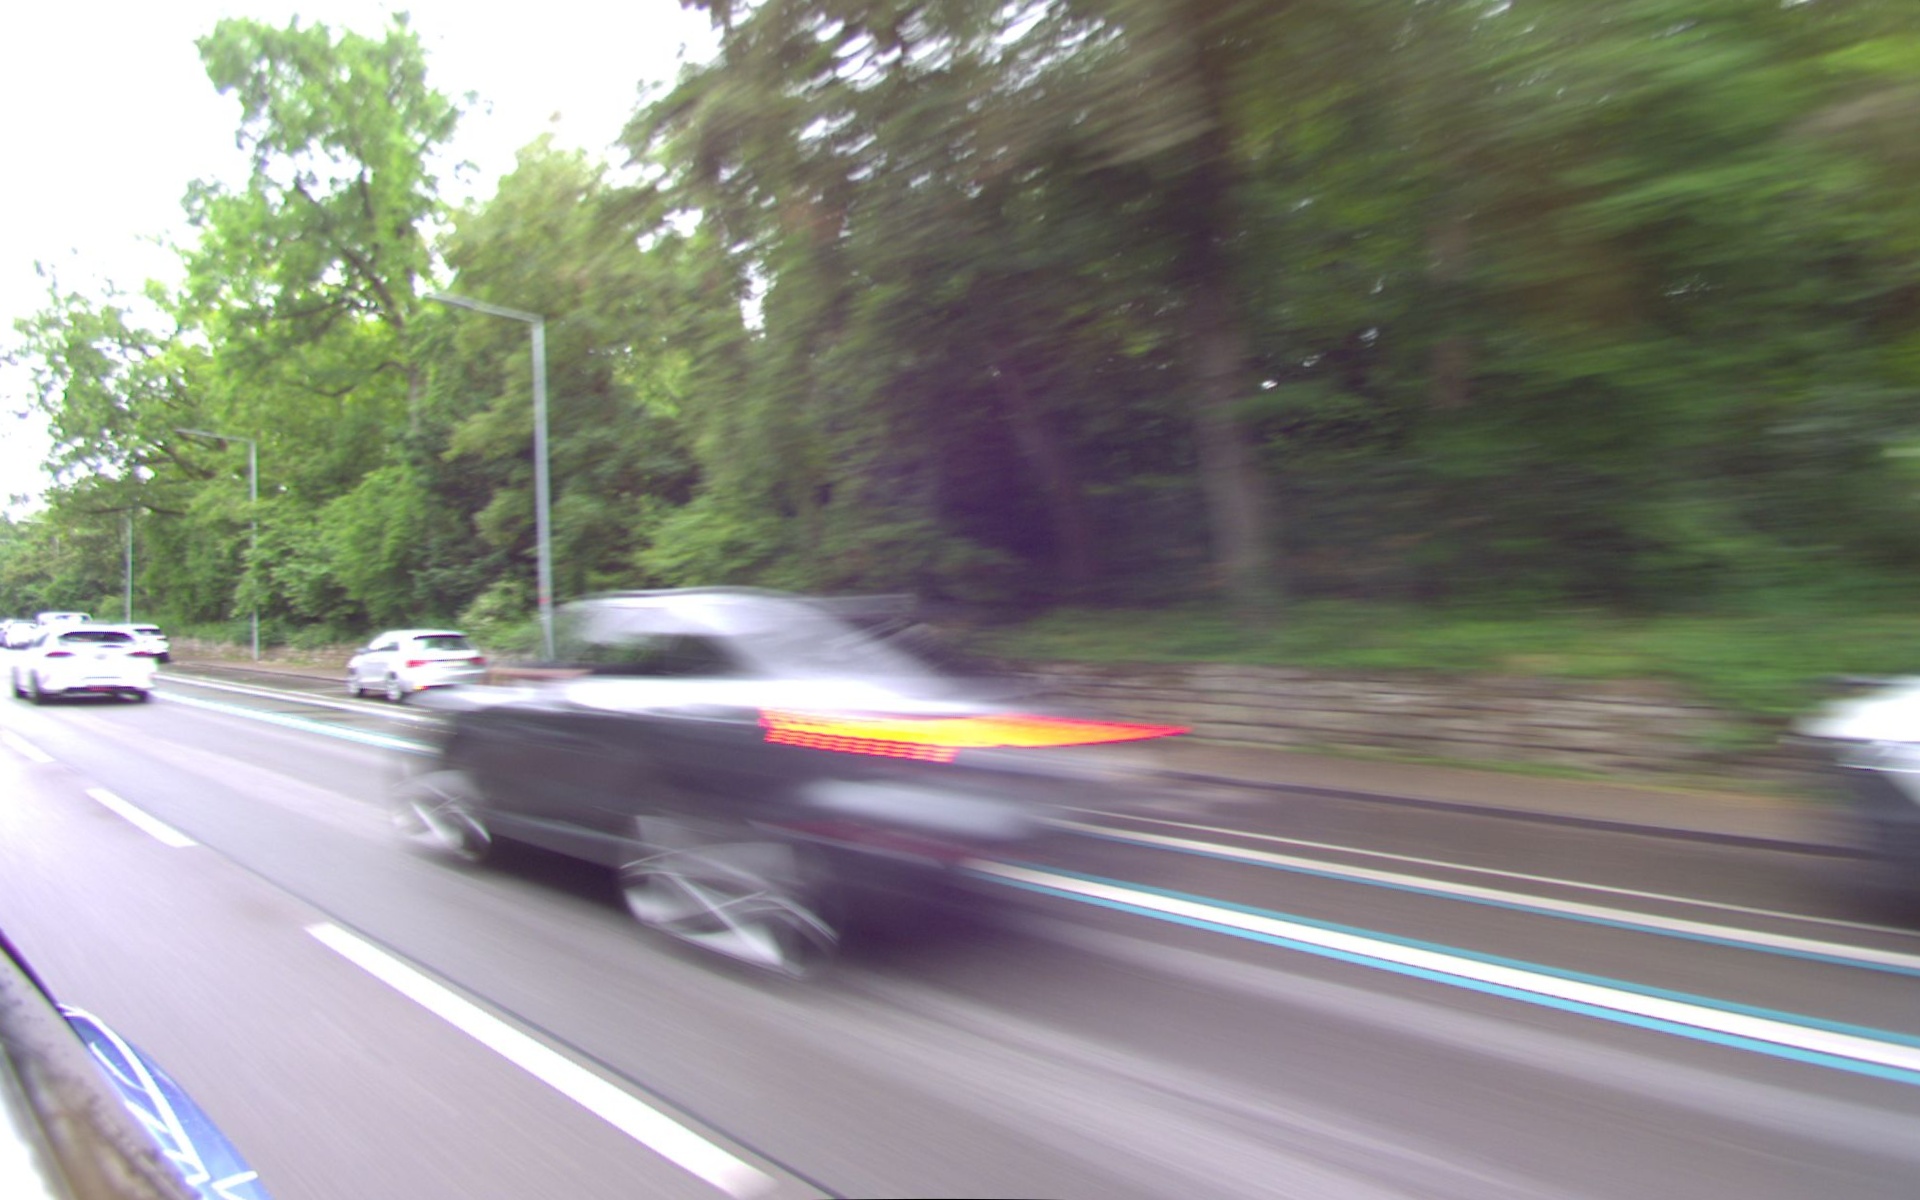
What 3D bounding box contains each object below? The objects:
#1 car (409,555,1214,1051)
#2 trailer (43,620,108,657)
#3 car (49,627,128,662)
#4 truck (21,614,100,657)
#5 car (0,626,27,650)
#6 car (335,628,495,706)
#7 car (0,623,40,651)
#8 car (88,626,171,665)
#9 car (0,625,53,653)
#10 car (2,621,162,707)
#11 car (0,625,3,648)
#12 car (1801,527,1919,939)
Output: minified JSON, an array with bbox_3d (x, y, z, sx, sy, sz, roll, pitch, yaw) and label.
[{"bbox_3d":[-1.094,0.744,5.562,4.463,1.629,1.940,-1,-3,41],"label":"car"},{"bbox_3d":[-41.310,1.762,47.308,1.329,1.670,2.271,0,-1,-11],"label":"trailer"},{"bbox_3d":[-37.612,1.887,43.652,4.439,1.409,1.803,-1,-1,38],"label":"car"},{"bbox_3d":[-45.081,1.737,50.700,5.152,2.029,2.073,-1,-1,38],"label":"truck"},{"bbox_3d":[-62.490,2.458,66.027,4.550,1.486,1.877,-2,-2,40],"label":"car"},{"bbox_3d":[-11.349,1.317,20.961,4.026,1.416,1.672,-2,-1,42],"label":"car"},{"bbox_3d":[-57.881,2.255,61.934,4.670,1.673,1.718,-2,-2,40],"label":"car"},{"bbox_3d":[-32.599,1.768,39.683,4.353,1.446,1.737,-2,-2,40],"label":"car"},{"bbox_3d":[-53.093,2.198,57.492,4.751,1.509,1.787,-1,-2,41],"label":"car"},{"bbox_3d":[-16.869,1.168,19.385,4.061,1.477,1.757,-1,-3,41],"label":"car"},{"bbox_3d":[-66.874,2.510,69.400,2.858,1.606,1.507,-2,-2,40],"label":"car"},{"bbox_3d":[7.043,0.596,4.428,5.009,2.020,1.955,-2,-1,37],"label":"car"}]
